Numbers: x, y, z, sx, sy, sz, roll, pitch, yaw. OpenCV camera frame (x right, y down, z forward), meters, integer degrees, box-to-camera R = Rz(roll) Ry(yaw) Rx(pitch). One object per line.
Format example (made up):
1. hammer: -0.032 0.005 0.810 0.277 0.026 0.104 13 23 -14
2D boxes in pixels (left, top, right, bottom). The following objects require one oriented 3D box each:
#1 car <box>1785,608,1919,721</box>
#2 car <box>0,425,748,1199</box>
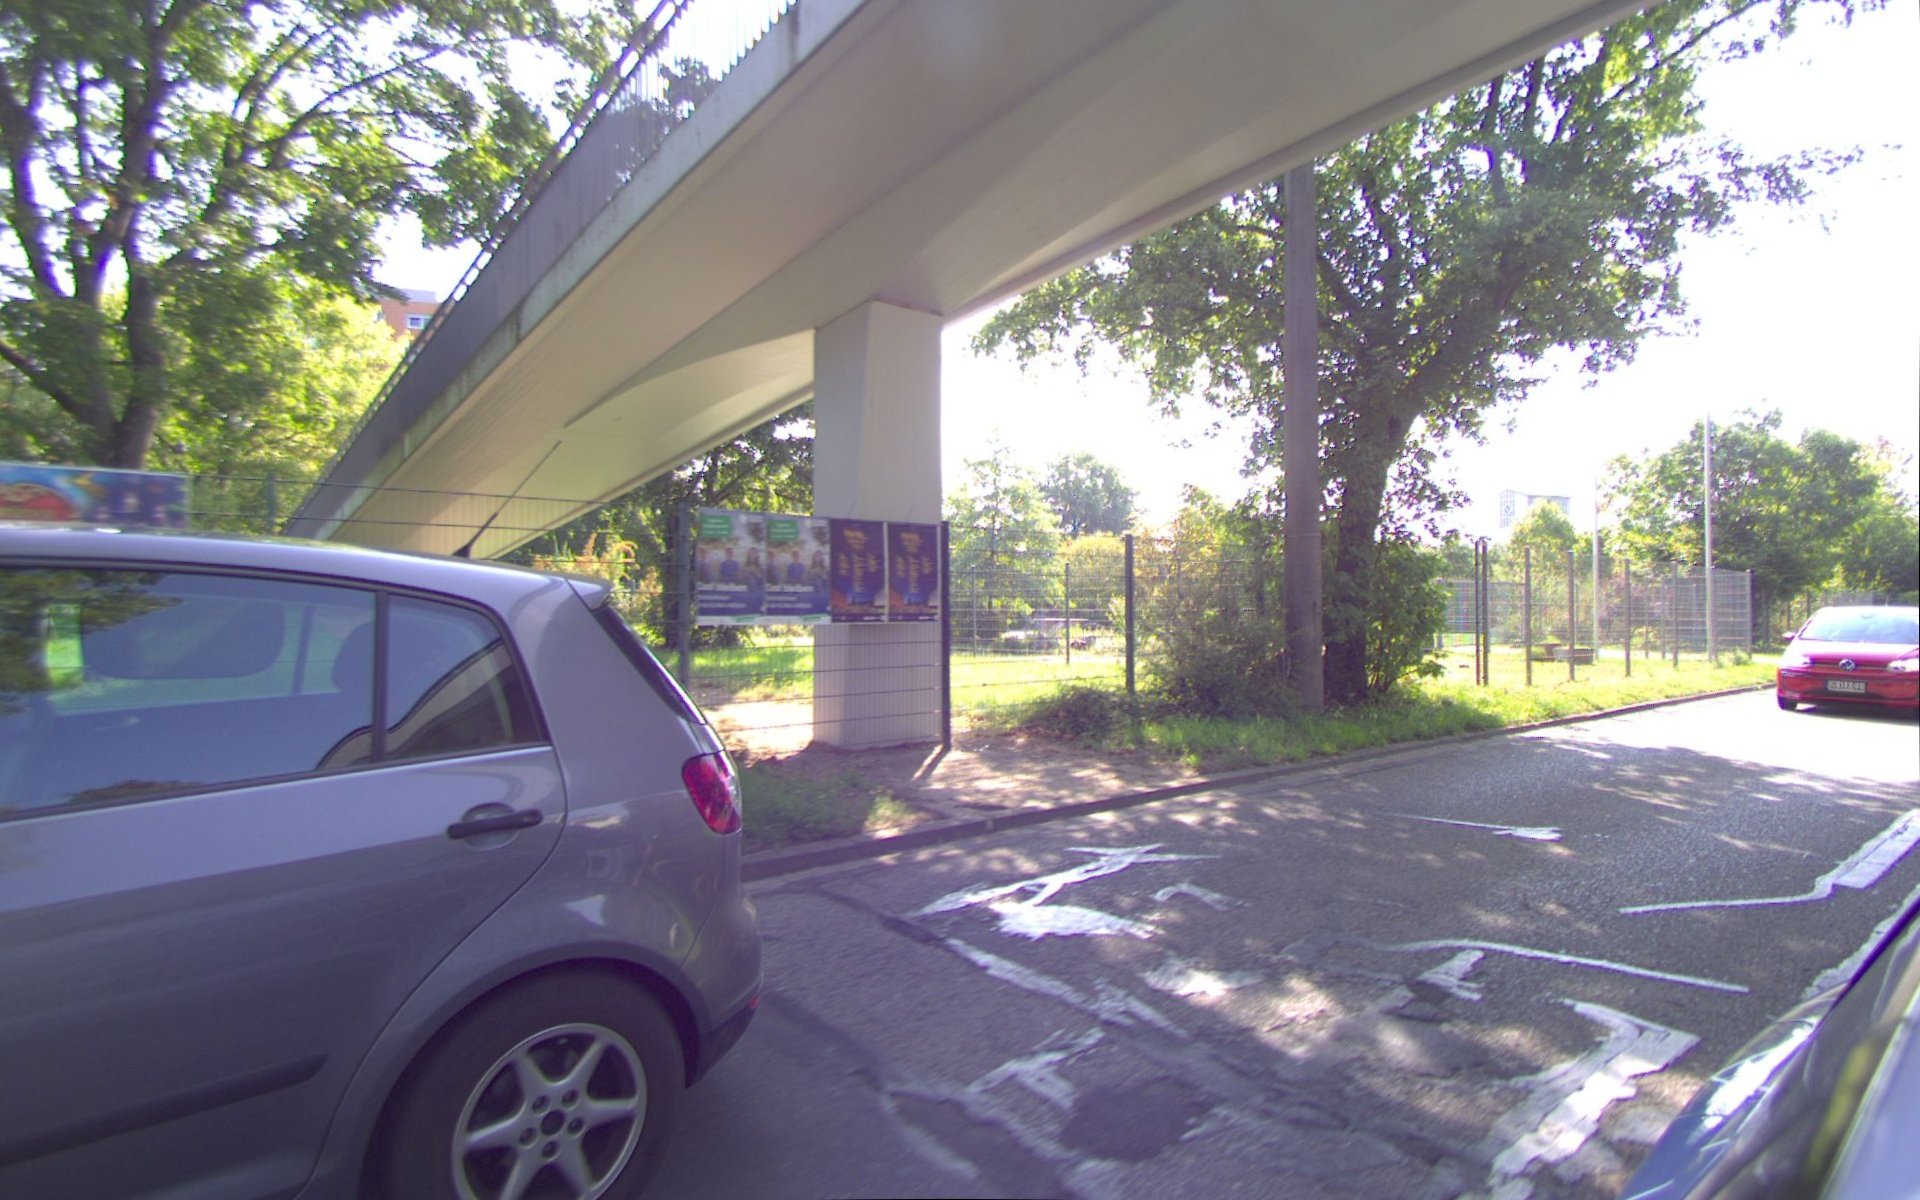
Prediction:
1. car: 13.144 0.835 14.294 3.408 1.416 1.579 1 0 -38
2. car: -2.493 0.521 1.821 3.829 1.577 1.648 1 -2 -40
